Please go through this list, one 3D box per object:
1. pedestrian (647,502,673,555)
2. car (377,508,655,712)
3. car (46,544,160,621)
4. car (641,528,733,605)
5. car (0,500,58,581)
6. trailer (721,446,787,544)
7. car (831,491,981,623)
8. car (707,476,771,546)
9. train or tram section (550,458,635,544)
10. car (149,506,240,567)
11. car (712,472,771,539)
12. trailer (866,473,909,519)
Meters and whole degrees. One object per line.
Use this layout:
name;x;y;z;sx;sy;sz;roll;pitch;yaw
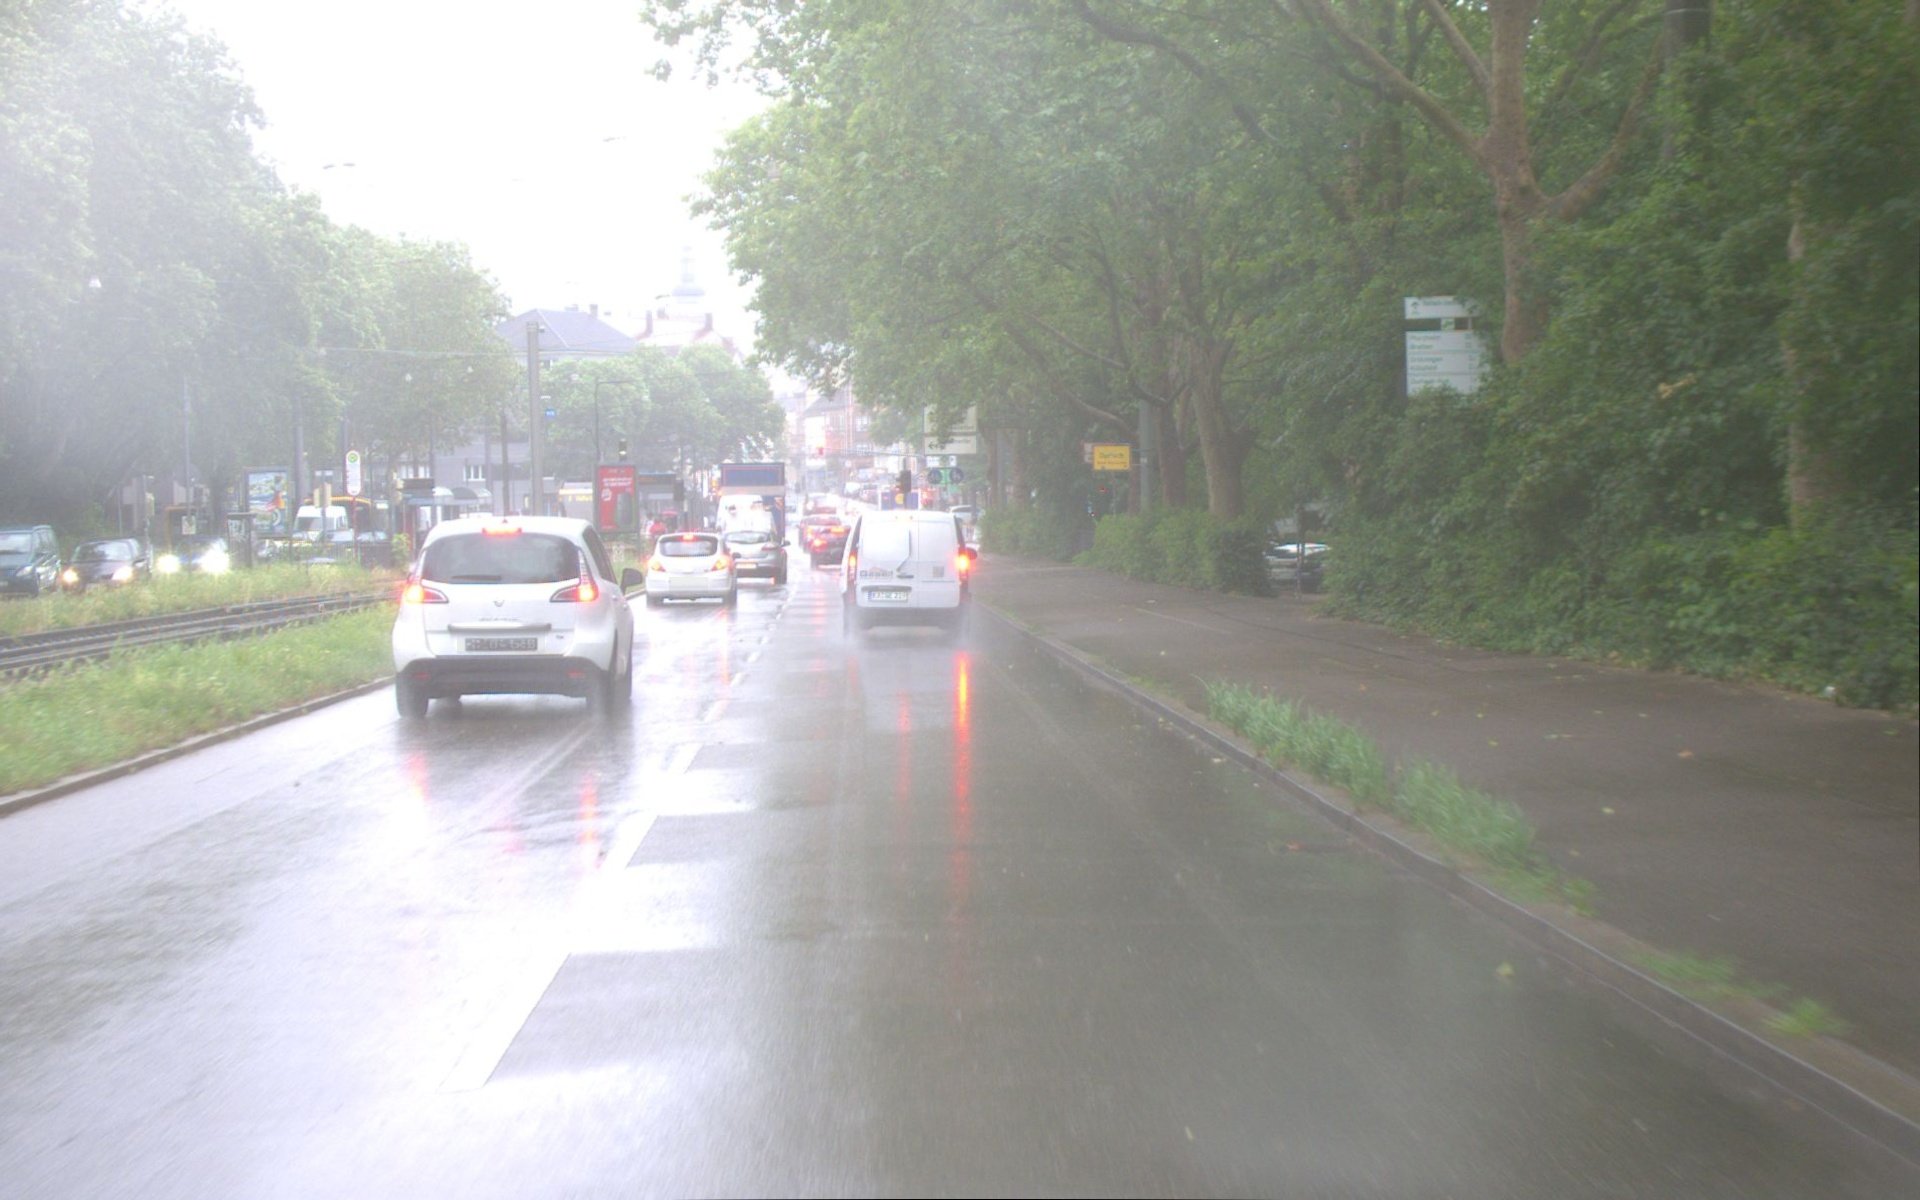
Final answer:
pedestrian;-9.808;-2.342;112.482;0.790;1.708;0.771;1;0;-4
car;-3.714;0.034;29.433;1.864;1.618;4.263;0;1;-1
car;-21.142;-0.453;84.981;2.031;1.745;4.260;-2;1;-5
car;-5.366;-0.674;67.935;1.725;1.474;3.806;0;1;-3
car;-25.692;-1.581;92.532;2.031;2.085;4.805;-2;1;-7
trailer;-8.436;-4.262;139.950;2.590;3.886;7.638;0;2;-4
car;-0.797;-0.603;48.125;1.959;1.771;3.570;0;1;-3
car;-8.368;-3.351;130.426;2.329;2.548;6.115;0;1;-3
train or tram section;-14.719;-4.032;138.310;2.961;3.274;8.362;-2;2;-4
car;-23.221;-1.944;104.471;2.031;1.745;4.695;-2;1;-5
car;-7.671;-3.295;120.868;1.993;2.254;5.289;0;1;-3
trailer;-3.765;-5.361;178.159;1.993;2.309;4.669;0;1;-4
